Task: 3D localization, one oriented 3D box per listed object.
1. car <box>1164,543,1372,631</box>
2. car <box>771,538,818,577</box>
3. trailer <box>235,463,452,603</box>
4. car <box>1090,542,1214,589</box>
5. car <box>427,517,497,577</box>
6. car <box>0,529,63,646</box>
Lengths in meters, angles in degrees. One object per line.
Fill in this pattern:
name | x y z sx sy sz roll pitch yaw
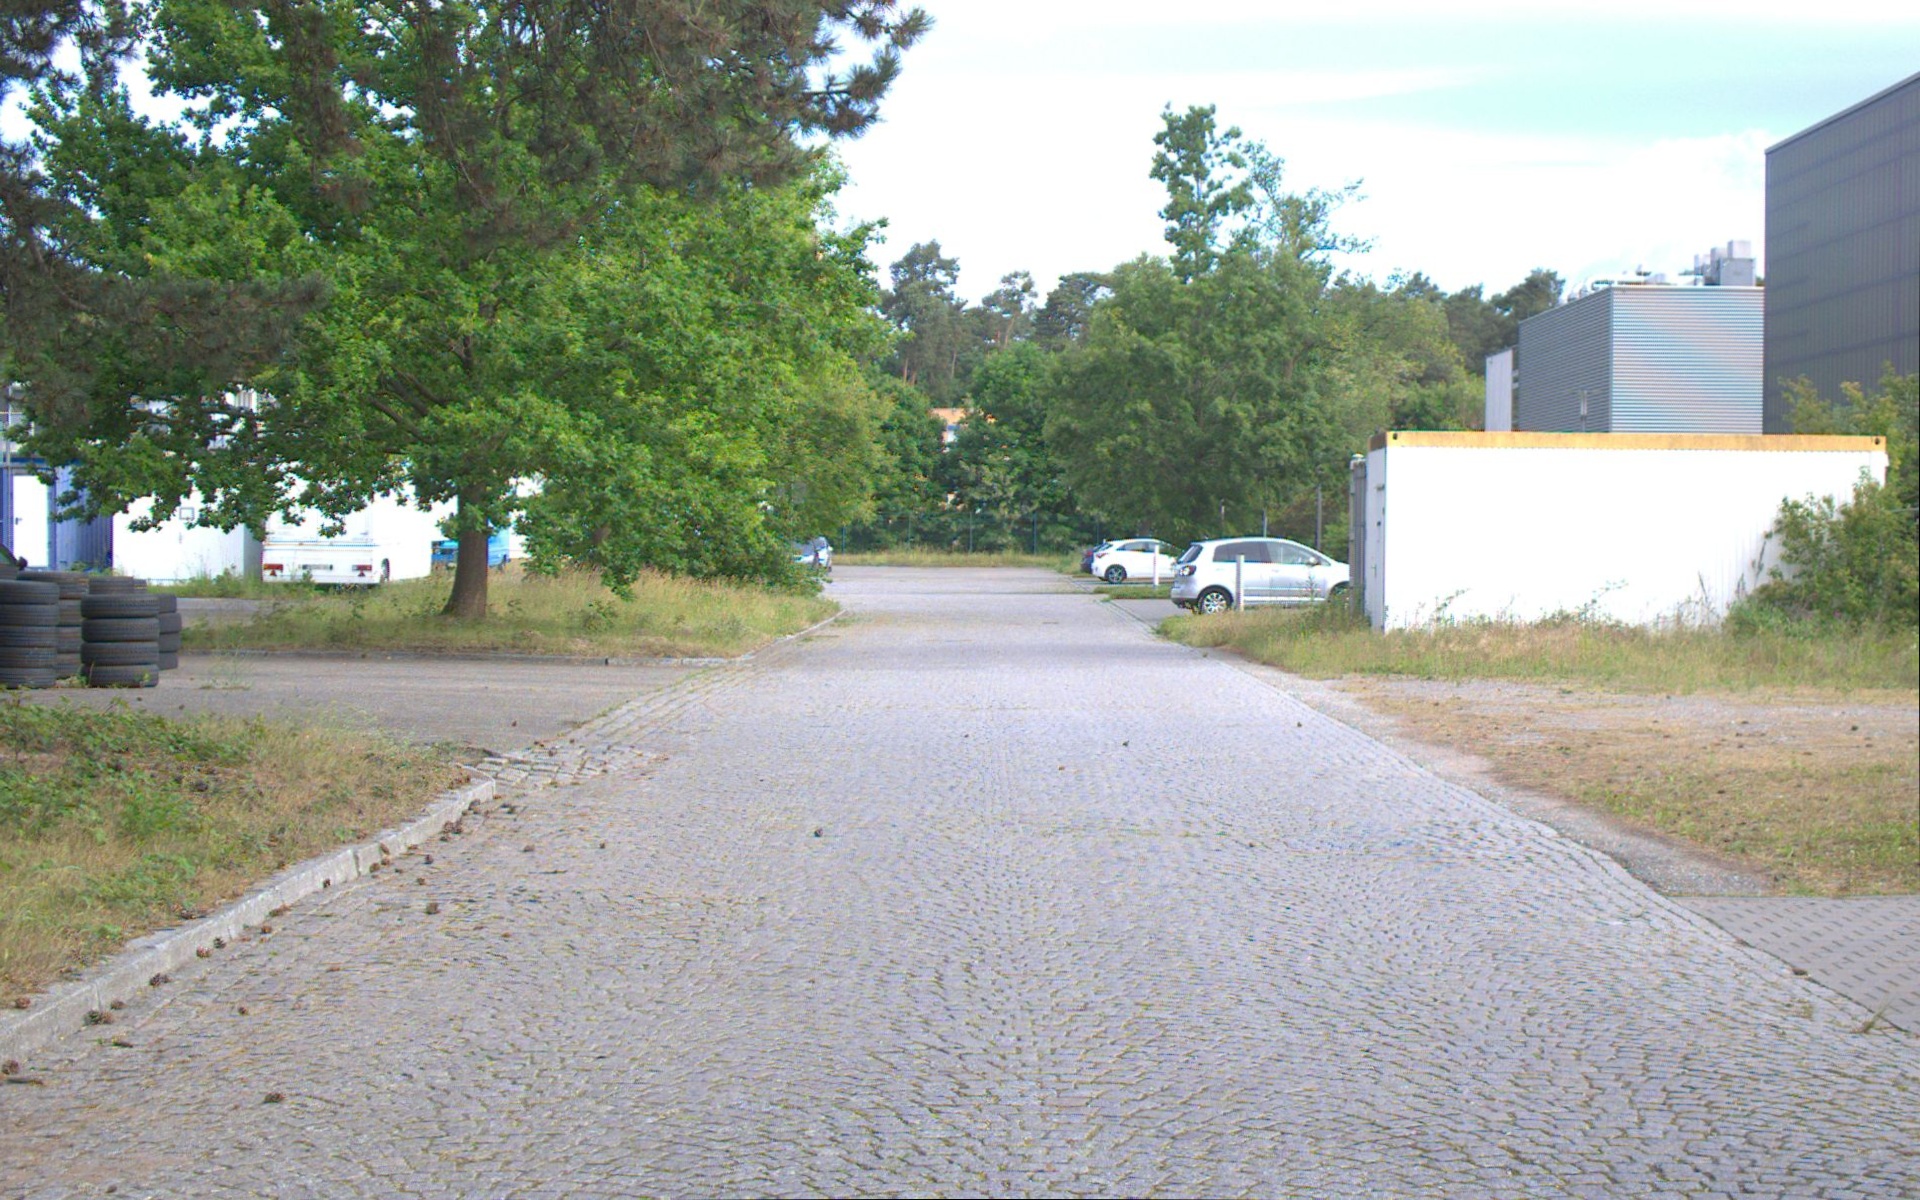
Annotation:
car | 6.027 -0.274 67.505 3.849 1.649 1.686 1 1 -2
car | -6.387 -1.639 132.830 1.735 1.464 4.046 1 1 -2
trailer | -14.275 -1.558 80.363 3.159 3.057 8.784 1 1 2
car | 6.326 -1.137 113.651 4.025 1.496 1.548 1 1 1
car | -17.501 -1.870 120.920 1.925 2.040 4.601 1 1 -2
car | -12.686 -0.177 42.908 1.767 1.448 3.487 1 1 6
